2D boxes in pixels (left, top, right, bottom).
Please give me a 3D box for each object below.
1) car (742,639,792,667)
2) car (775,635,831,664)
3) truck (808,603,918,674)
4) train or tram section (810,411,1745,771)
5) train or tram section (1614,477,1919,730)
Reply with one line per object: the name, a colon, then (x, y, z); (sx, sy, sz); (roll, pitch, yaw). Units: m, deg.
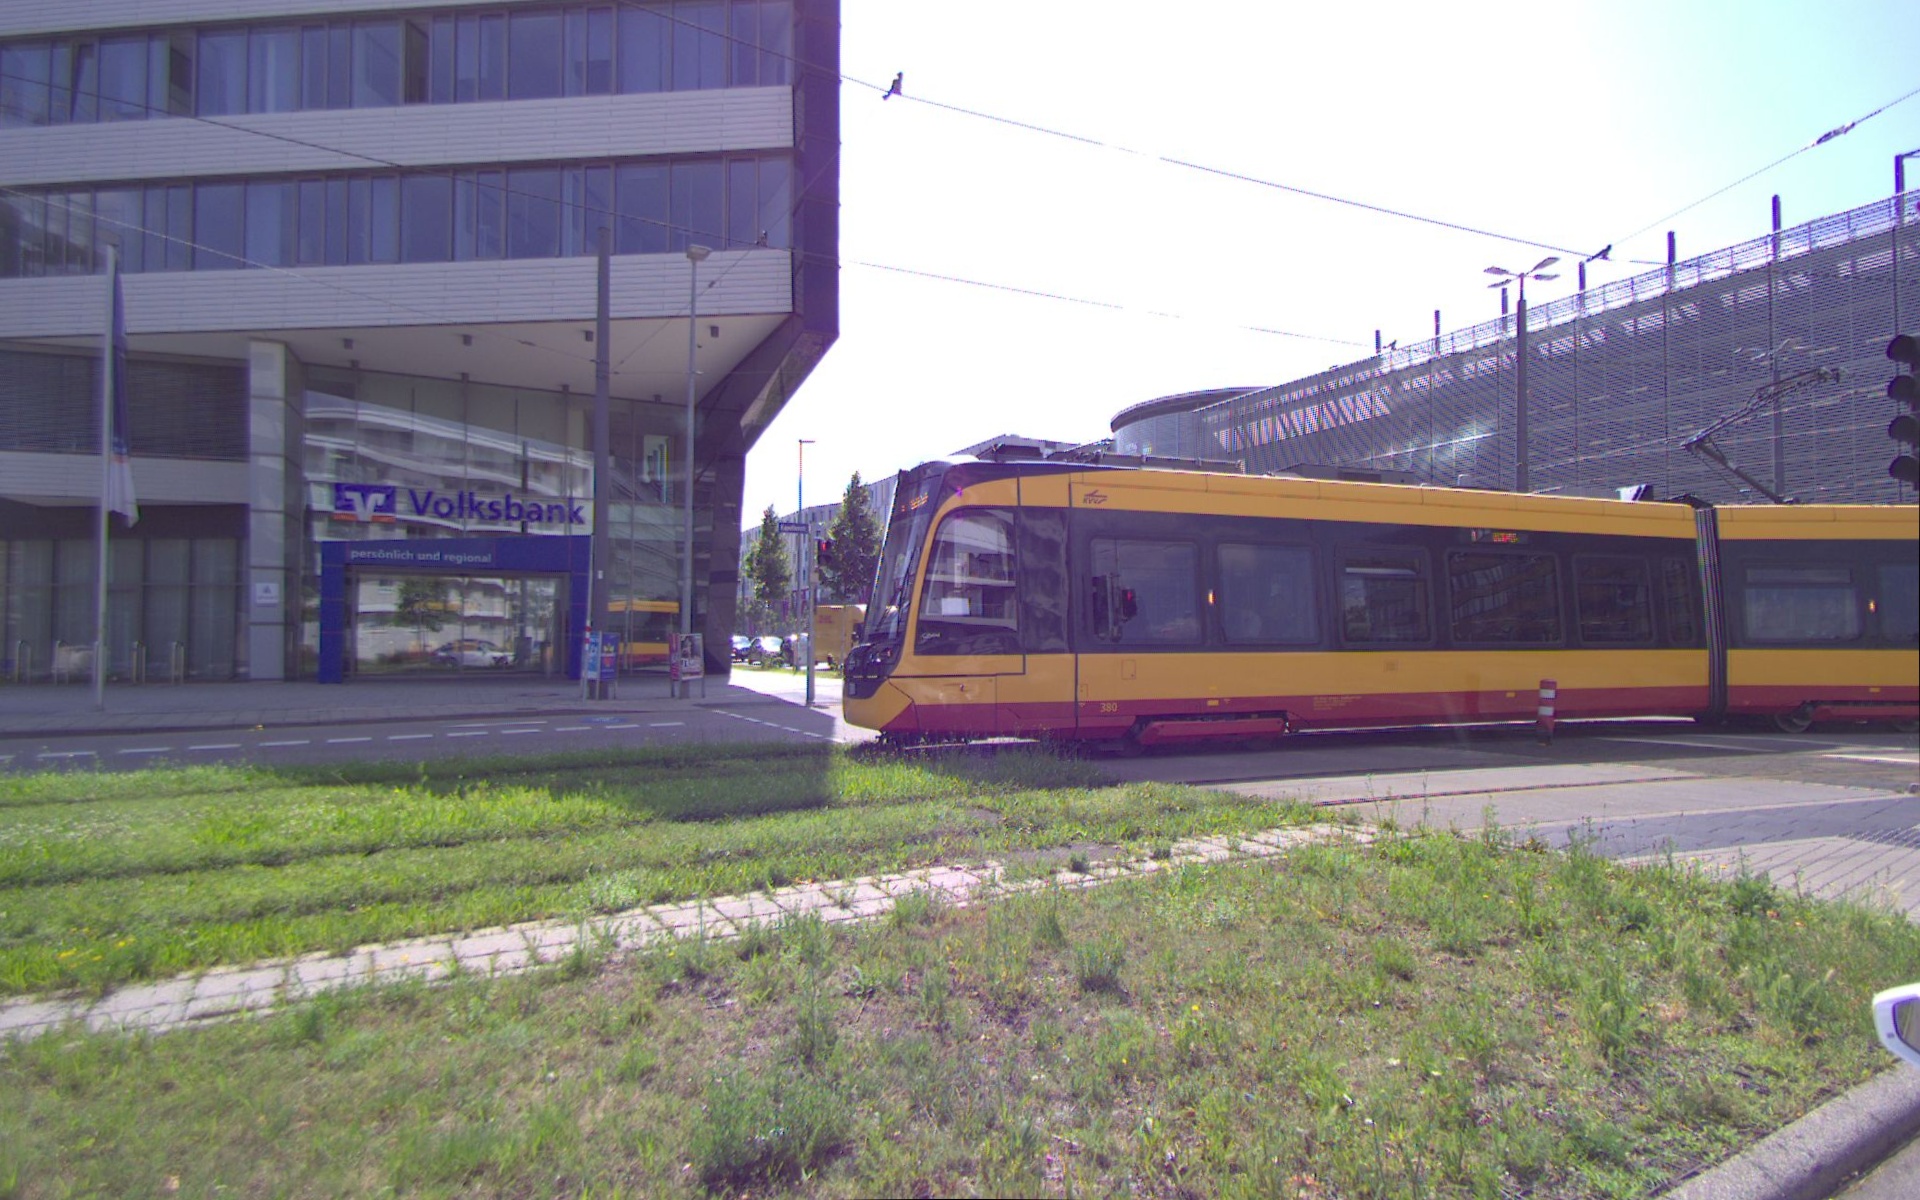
car: (-10.835, 2.930, 56.299); (1.804, 1.488, 3.760); (1, -2, -27)
car: (-8.214, 2.545, 52.208); (1.804, 1.488, 3.760); (1, -2, -27)
truck: (-4.394, 1.687, 44.206); (2.416, 2.866, 6.820); (1, -2, -28)
train or tram section: (4.798, 0.032, 14.016); (13.296, 3.646, 3.212); (1, -2, -21)
train or tram section: (16.863, 0.094, 16.078); (10.775, 3.651, 3.066); (0, -1, 1)
